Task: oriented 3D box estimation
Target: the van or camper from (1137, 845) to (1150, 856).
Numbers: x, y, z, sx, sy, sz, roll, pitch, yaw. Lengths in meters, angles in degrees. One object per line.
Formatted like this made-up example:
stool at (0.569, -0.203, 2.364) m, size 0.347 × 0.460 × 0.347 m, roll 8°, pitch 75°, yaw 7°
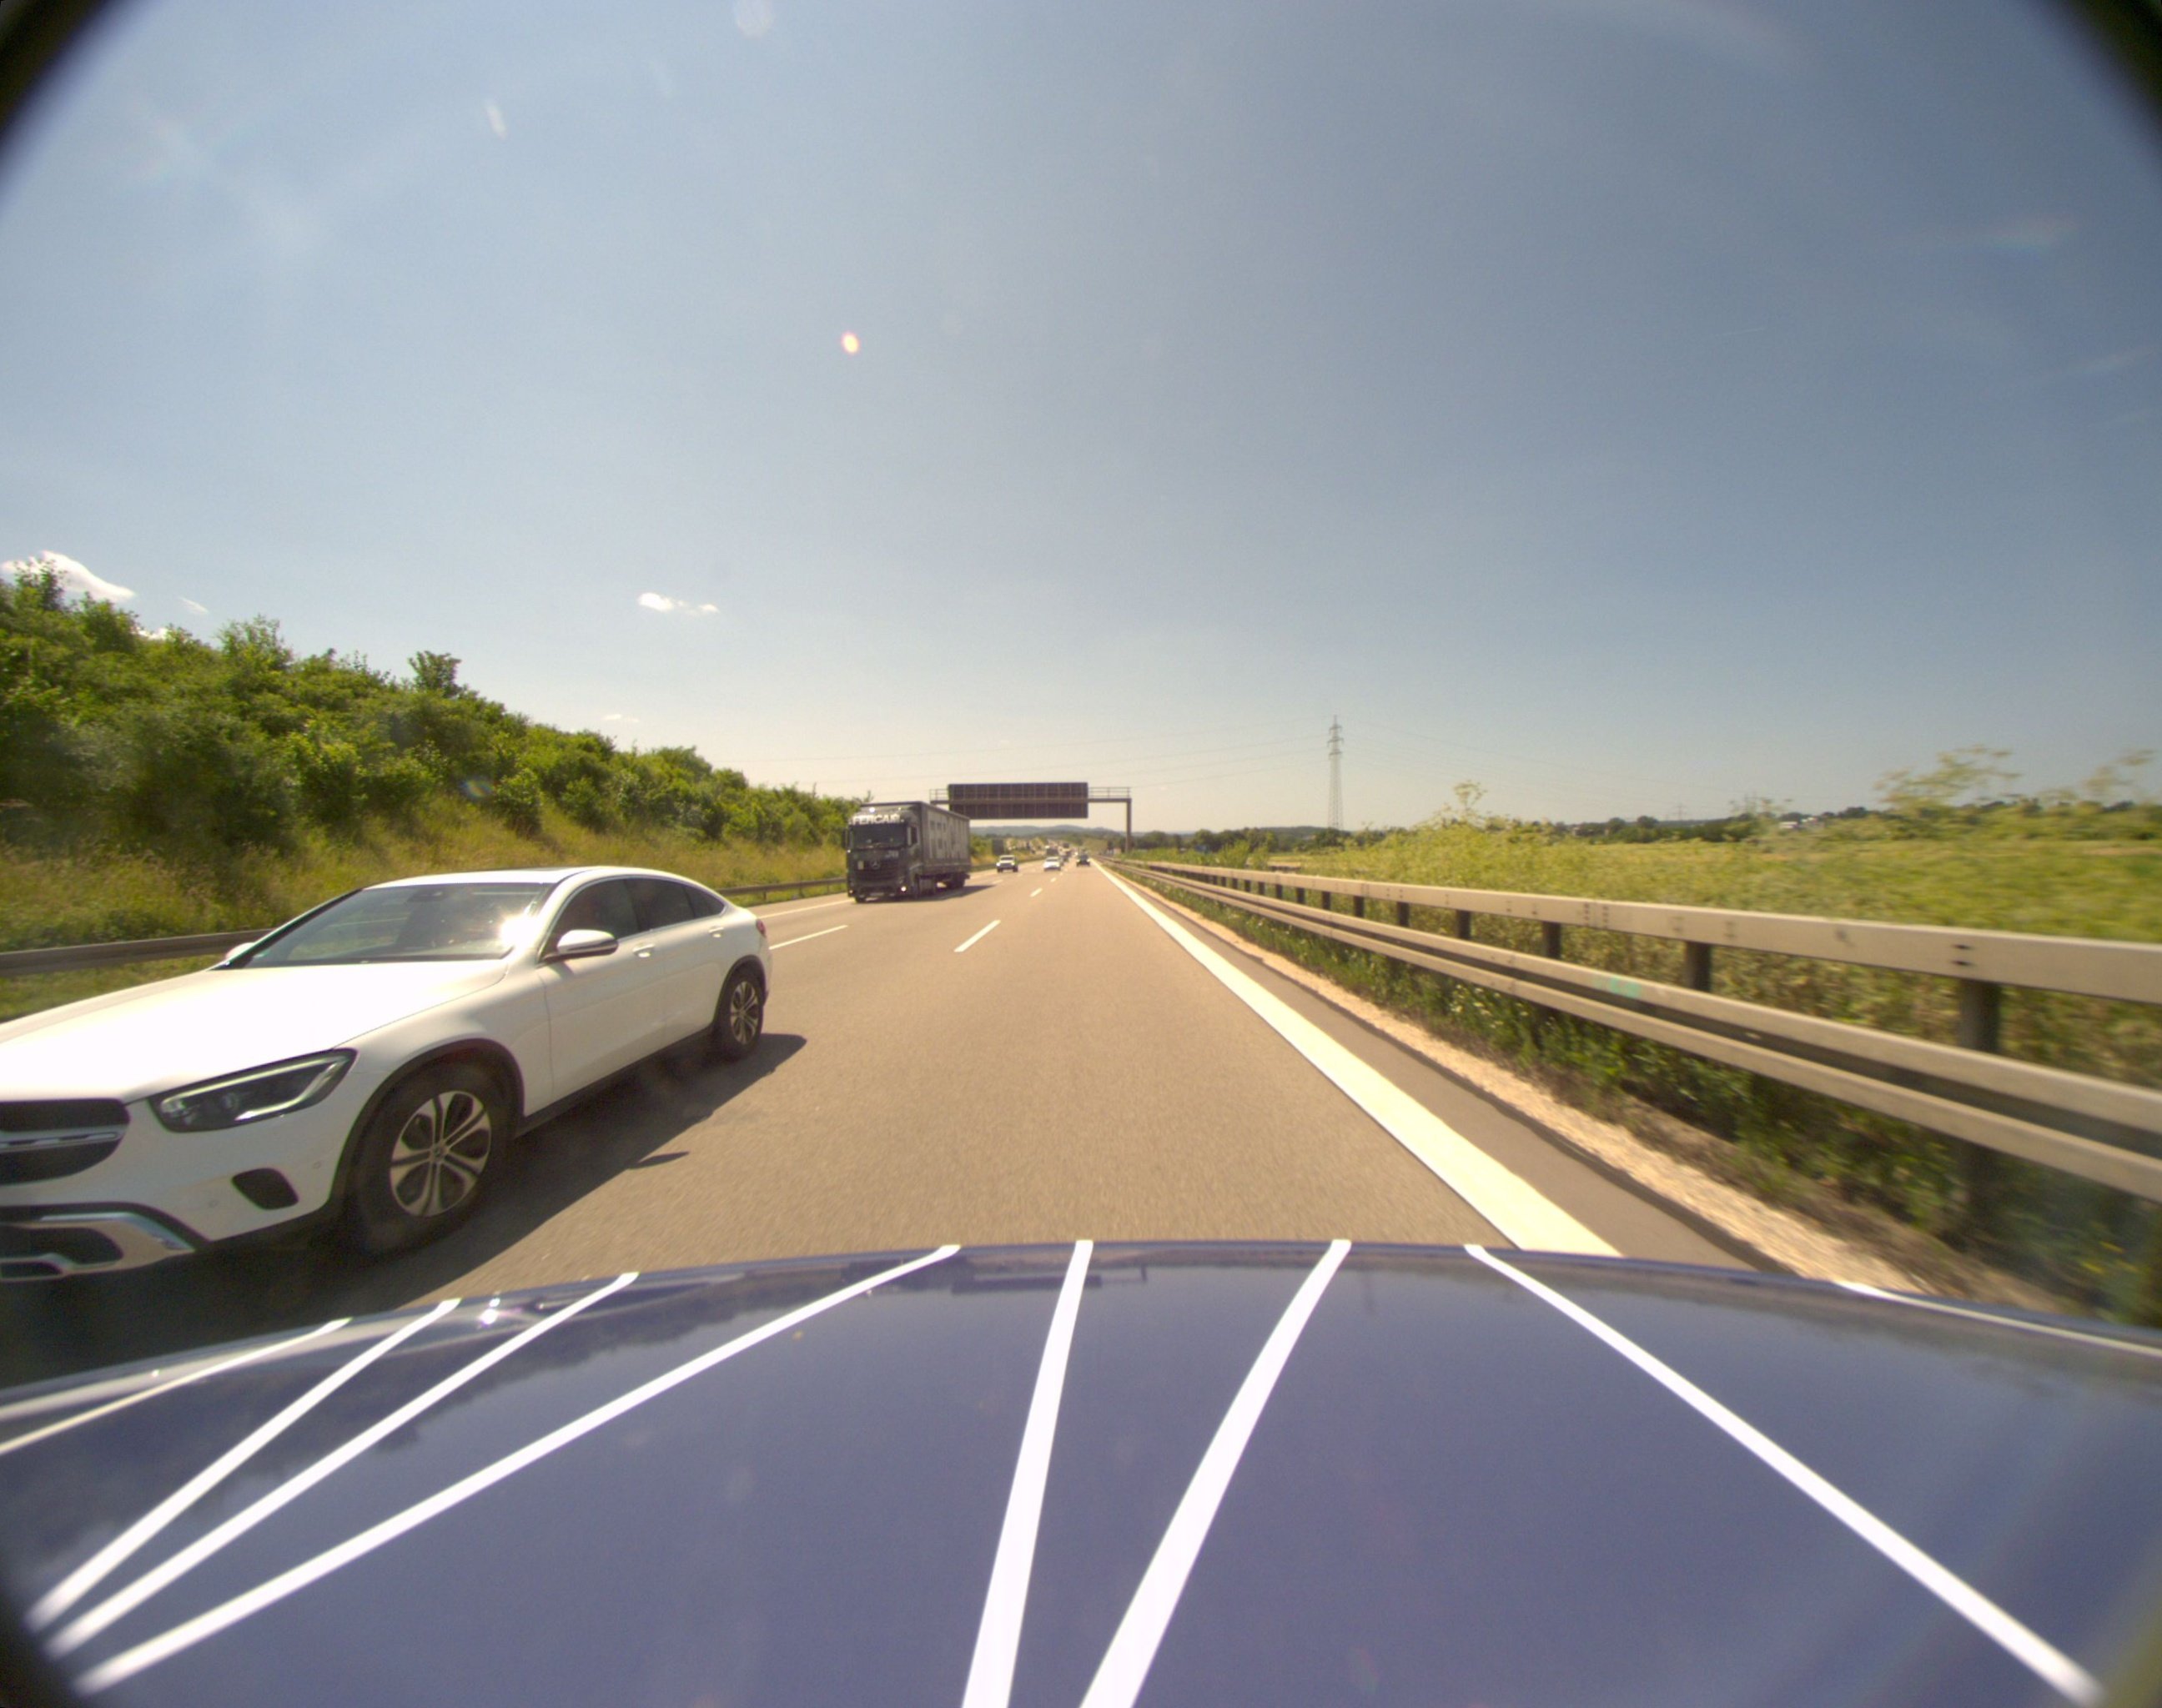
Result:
van or camper at (13.963, -0.815, 170.451) m, size 2.233 × 2.494 × 6.596 m, roll -2°, pitch 0°, yaw 0°

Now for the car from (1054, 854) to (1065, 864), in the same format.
car at (-3.195, 0.735, 113.727) m, size 1.635 × 1.381 × 3.999 m, roll -2°, pitch 1°, yaw -1°

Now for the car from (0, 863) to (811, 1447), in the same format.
car at (-3.648, 0.940, 4.823) m, size 1.919 × 1.571 × 5.230 m, roll -2°, pitch 1°, yaw 0°

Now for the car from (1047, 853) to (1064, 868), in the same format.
car at (-2.793, 0.698, 84.252) m, size 1.780 × 1.425 × 4.690 m, roll -2°, pitch 1°, yaw 0°

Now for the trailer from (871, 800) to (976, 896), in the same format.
trailer at (-7.742, -0.327, 39.382) m, size 2.732 × 4.131 × 11.806 m, roll -2°, pitch 1°, yaw 1°

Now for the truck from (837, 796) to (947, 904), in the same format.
truck at (-7.786, -0.195, 32.305) m, size 2.759 × 3.997 × 6.787 m, roll -2°, pitch 1°, yaw 0°

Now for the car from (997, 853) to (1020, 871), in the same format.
car at (-7.940, 0.829, 83.880) m, size 2.040 × 1.794 × 4.250 m, roll -2°, pitch 1°, yaw 0°

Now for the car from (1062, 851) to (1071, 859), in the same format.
car at (-3.100, 0.155, 161.698) m, size 1.751 × 1.559 × 3.999 m, roll -2°, pitch 1°, yaw -1°

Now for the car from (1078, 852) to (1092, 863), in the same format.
car at (0.553, 0.469, 104.775) m, size 1.751 × 1.439 × 3.999 m, roll -2°, pitch 0°, yaw -1°
